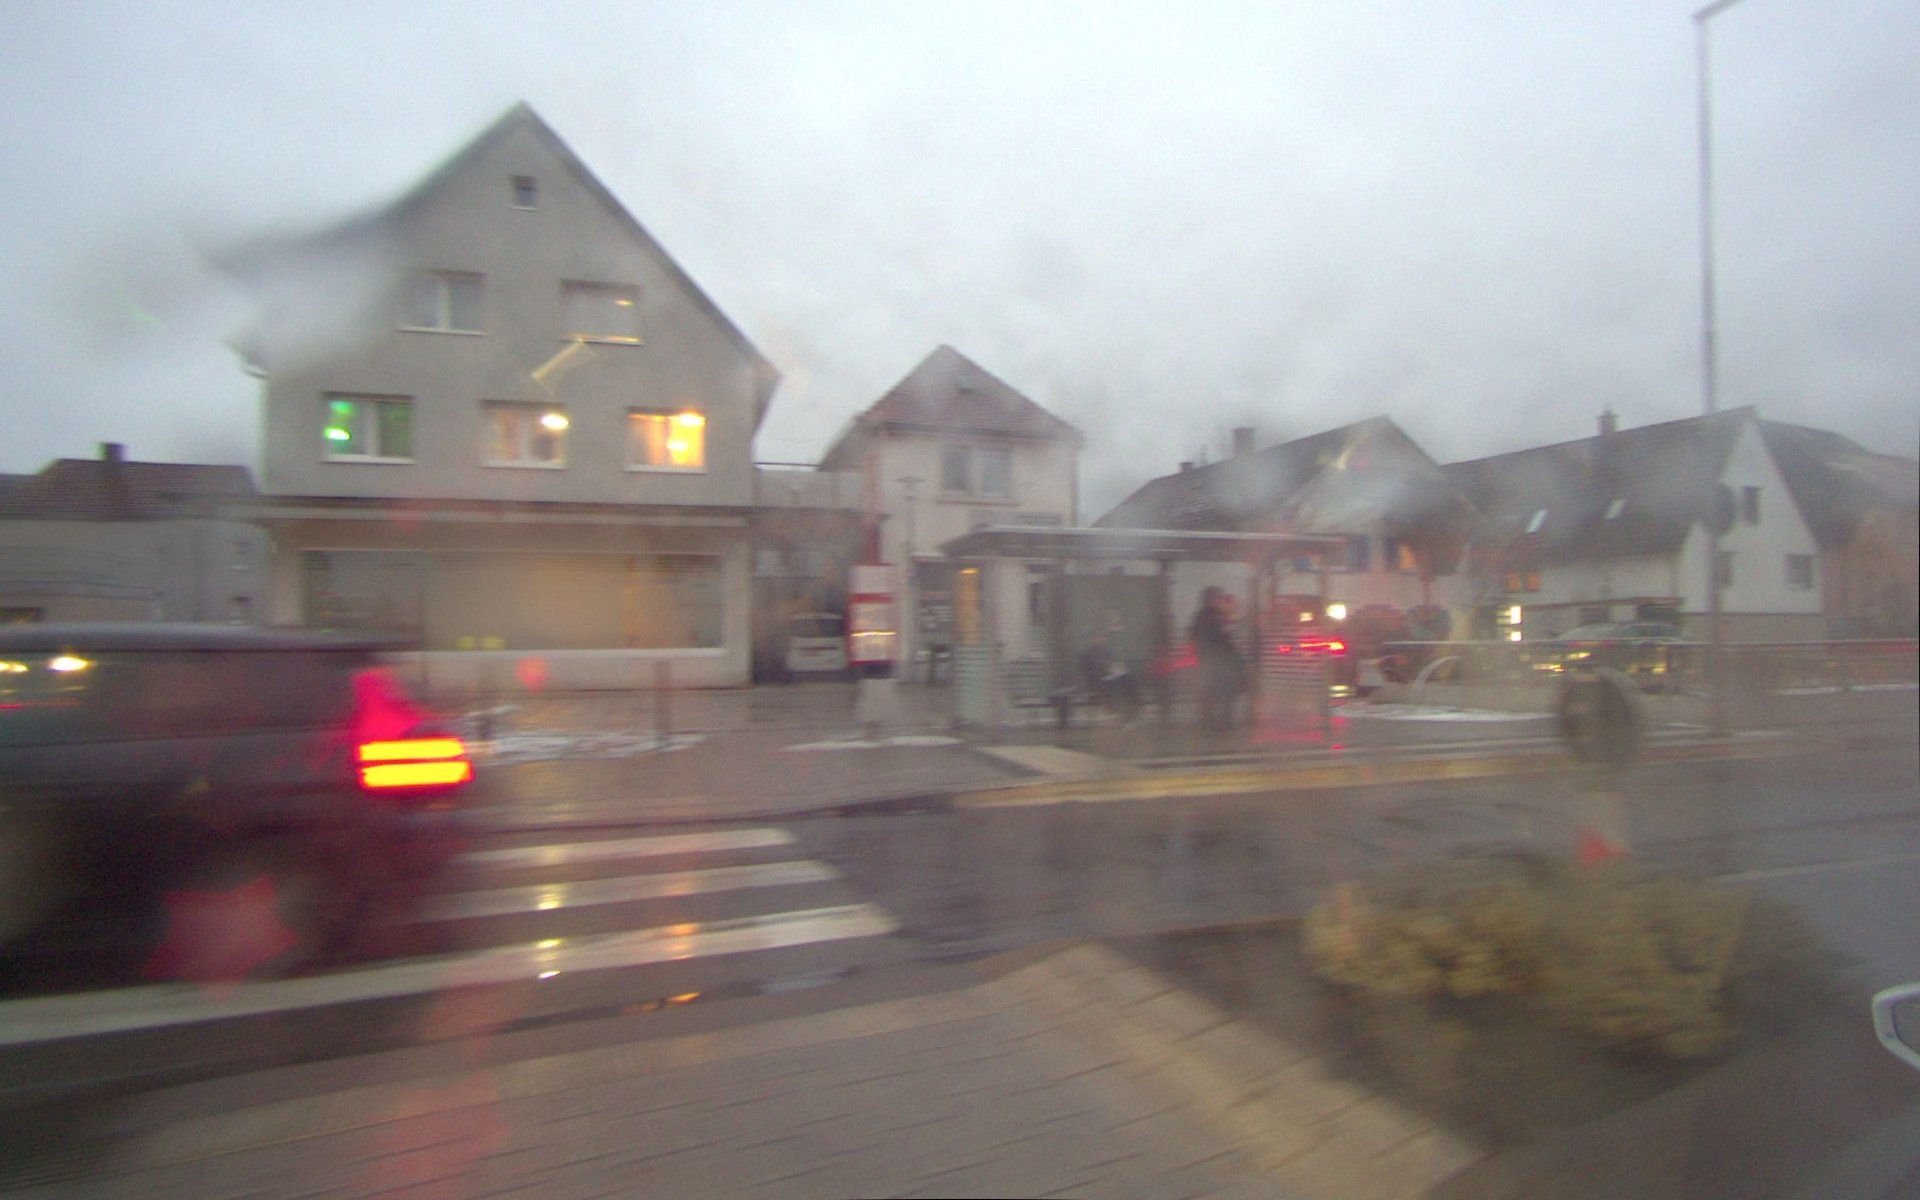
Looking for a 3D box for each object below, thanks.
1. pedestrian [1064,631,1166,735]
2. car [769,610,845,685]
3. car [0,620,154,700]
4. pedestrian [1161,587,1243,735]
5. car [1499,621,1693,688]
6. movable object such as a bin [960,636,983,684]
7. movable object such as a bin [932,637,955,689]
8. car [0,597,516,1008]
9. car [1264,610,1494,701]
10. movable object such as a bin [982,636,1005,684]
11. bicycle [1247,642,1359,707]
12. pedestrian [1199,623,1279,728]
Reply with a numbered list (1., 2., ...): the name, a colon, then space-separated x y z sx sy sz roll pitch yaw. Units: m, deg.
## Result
1. pedestrian: 1.912 0.997 12.469 0.887 1.174 0.988 -2 0 -18
2. car: -4.169 1.255 27.082 1.489 1.877 3.414 1 -2 -18
3. car: -25.859 1.654 29.063 1.964 2.040 4.457 2 -1 -10
4. pedestrian: 2.994 0.724 12.462 0.679 1.765 0.745 0 0 -27
5. car: 15.429 1.298 24.341 4.510 1.502 1.798 1 -4 -25
6. movable object such as a bin: 0.275 1.459 24.282 0.447 1.135 0.286 2 -1 -22
7. movable object such as a bin: -0.397 1.506 24.005 0.447 1.225 0.286 2 -1 -22
8. car: -4.138 0.761 4.426 3.839 1.523 1.700 1 -1 -20
9. car: 8.889 1.154 21.331 4.497 1.723 1.753 -1 -4 -22
10. movable object such as a bin: 0.818 1.465 24.479 0.447 1.157 0.286 2 -1 -22
11. bicycle: 5.573 1.201 16.350 1.708 1.023 0.470 0 -2 -11
12. pedestrian: 3.628 0.958 13.073 0.739 1.288 0.684 0 0 -23
